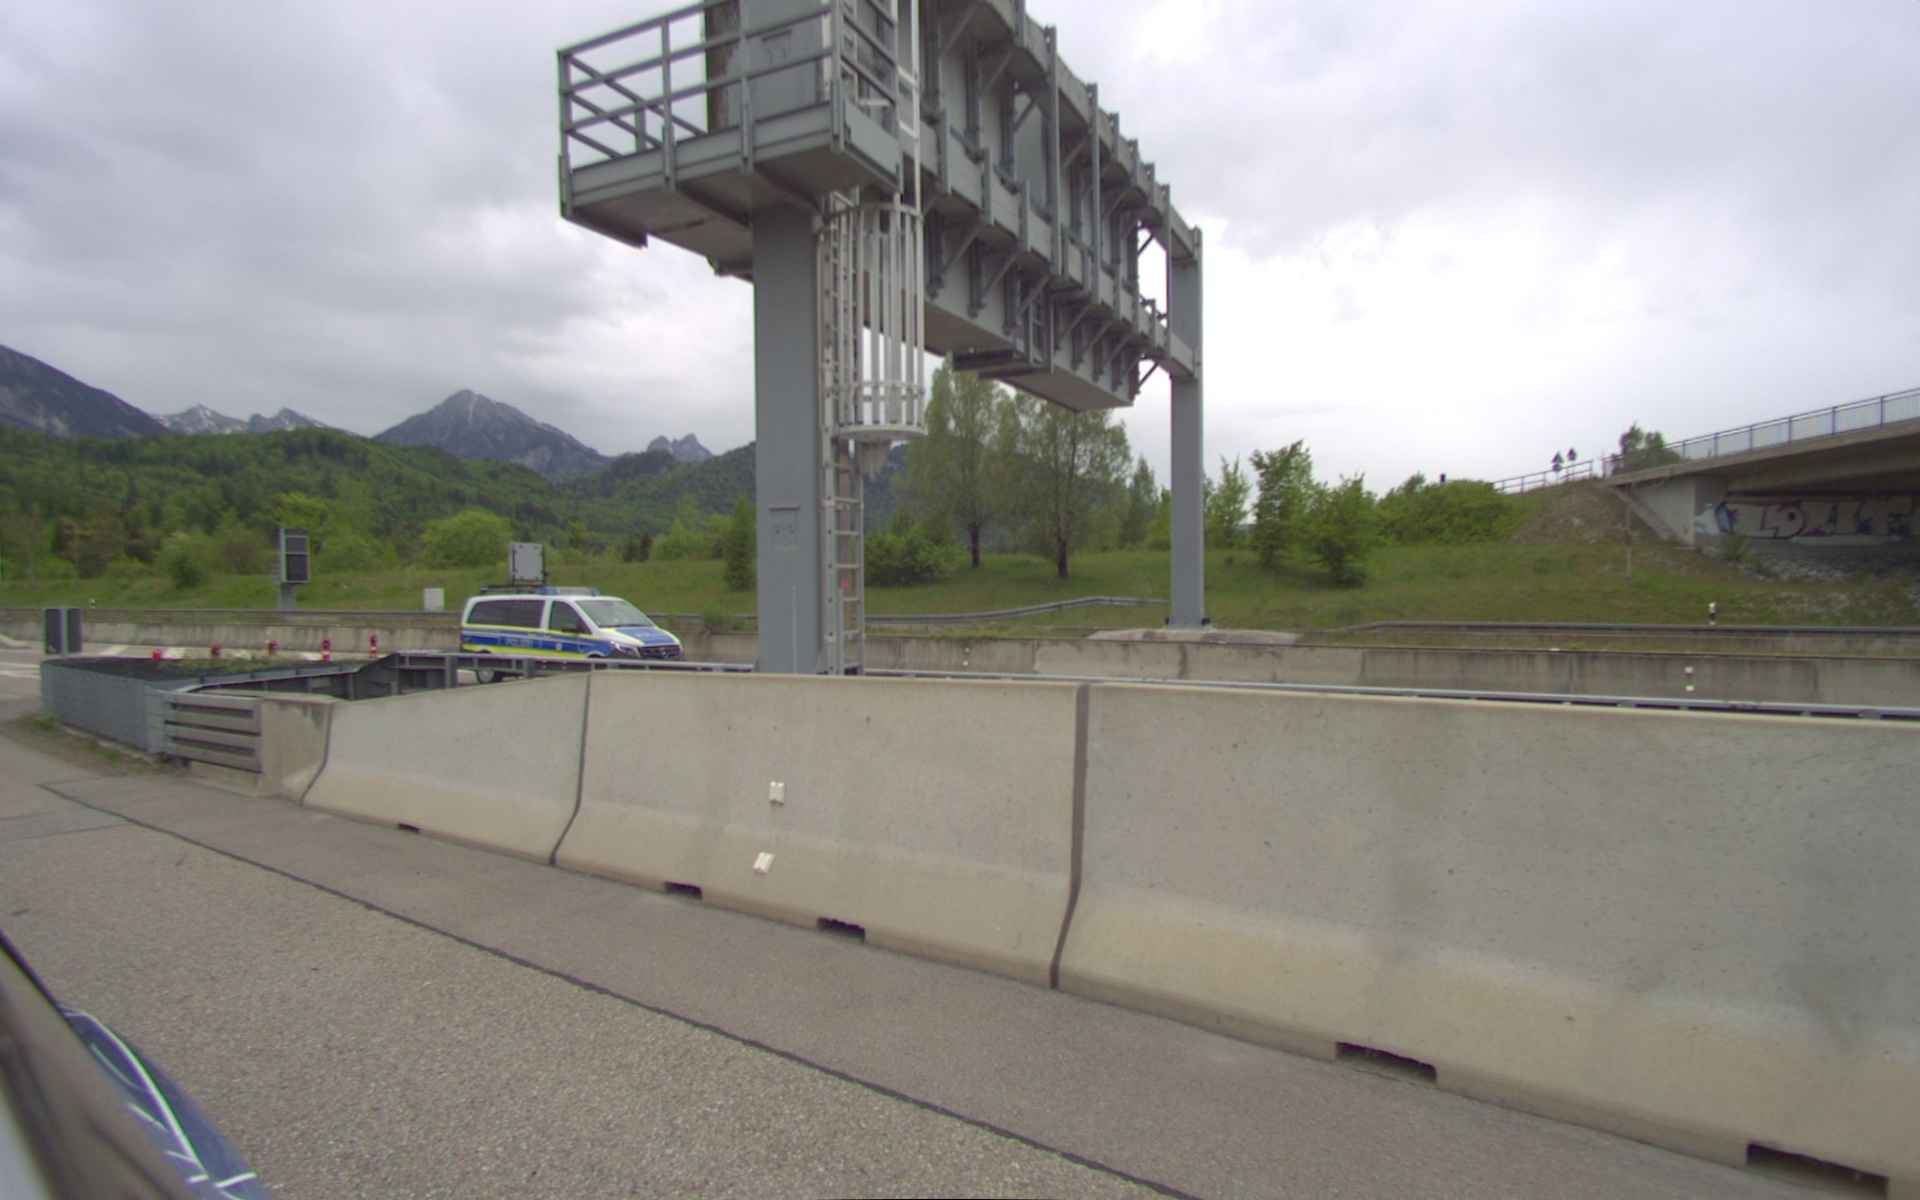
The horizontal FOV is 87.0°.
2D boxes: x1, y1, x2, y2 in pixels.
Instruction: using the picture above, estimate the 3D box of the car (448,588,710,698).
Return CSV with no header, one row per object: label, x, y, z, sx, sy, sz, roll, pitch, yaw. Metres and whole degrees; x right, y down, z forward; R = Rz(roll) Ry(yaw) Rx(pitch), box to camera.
car,-7.847,0.799,20.794,5.024,2.029,2.273,0,0,27
